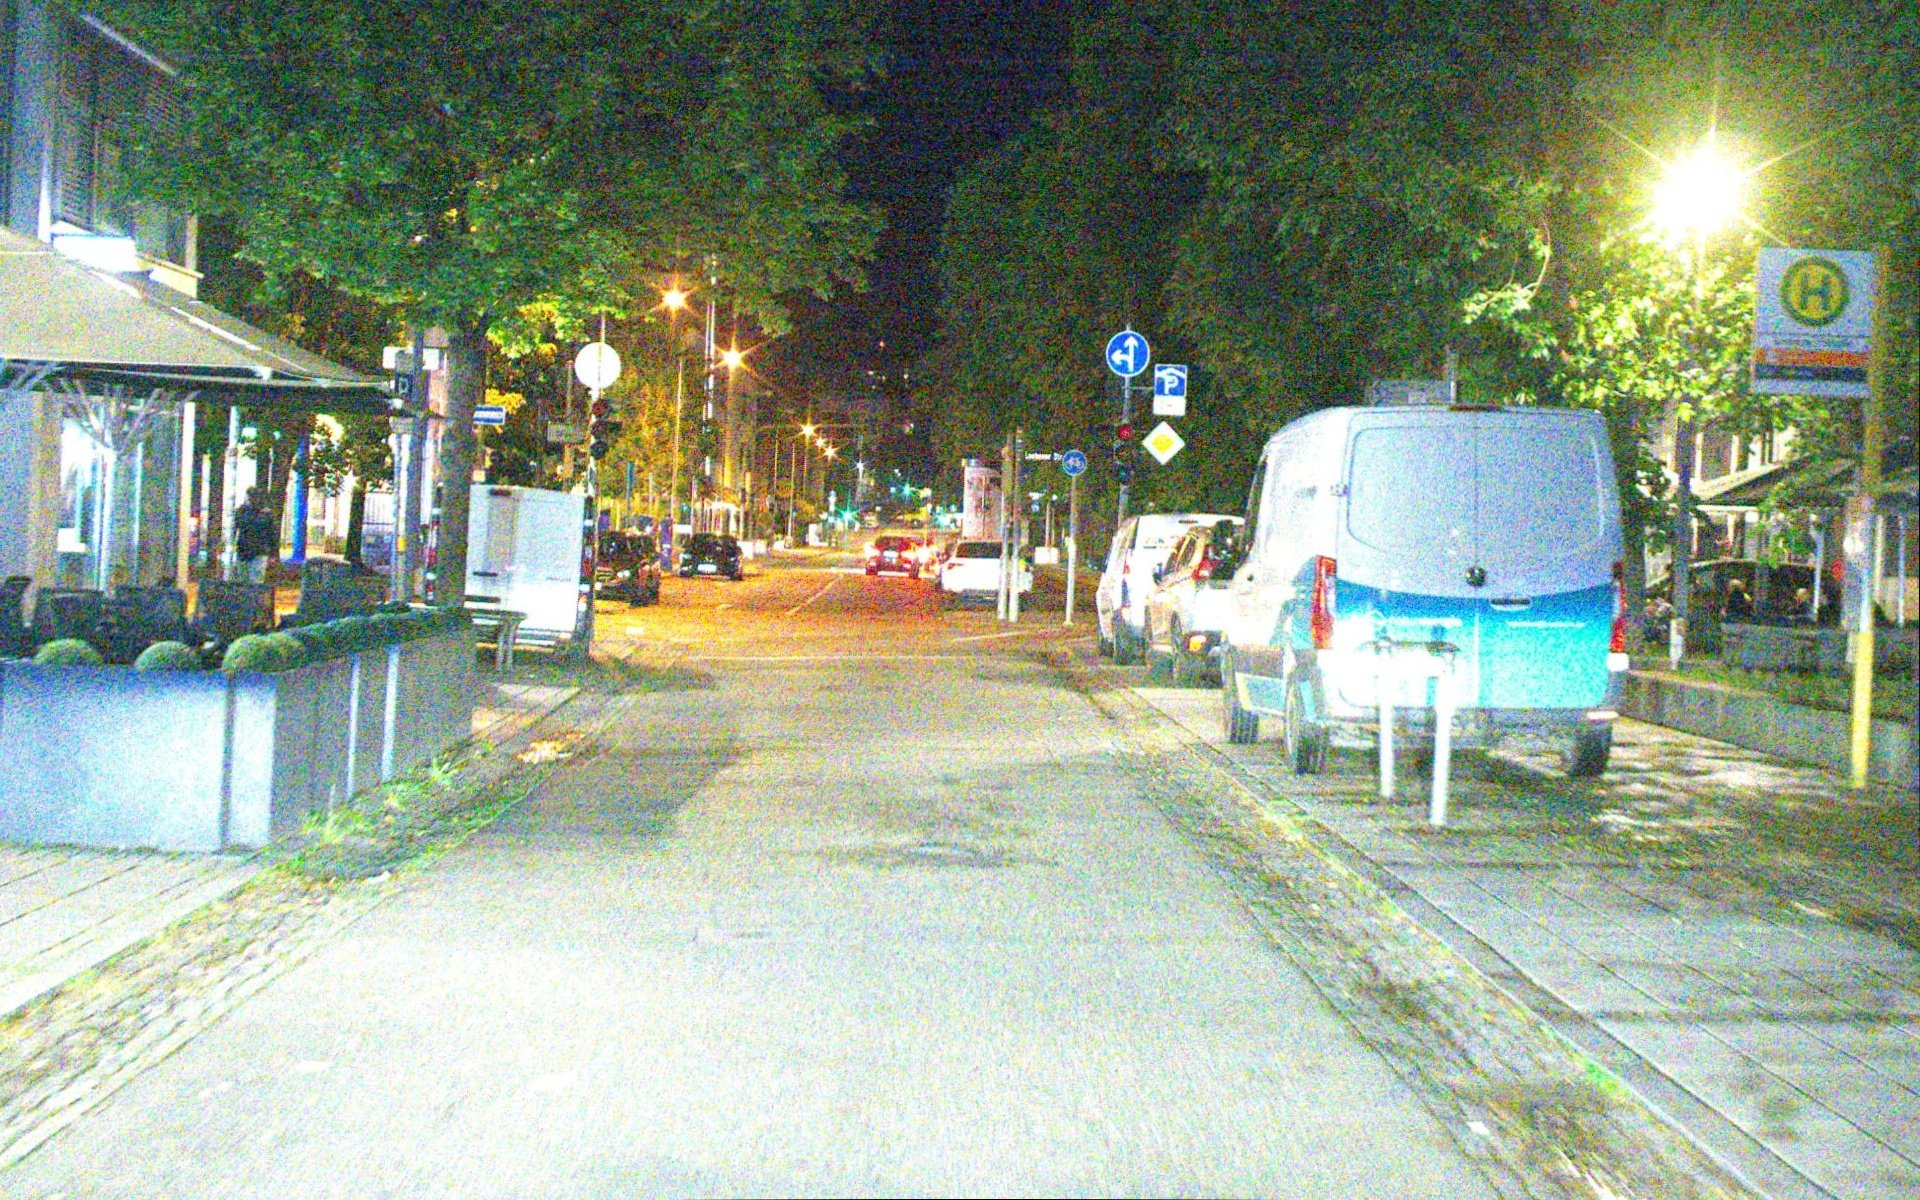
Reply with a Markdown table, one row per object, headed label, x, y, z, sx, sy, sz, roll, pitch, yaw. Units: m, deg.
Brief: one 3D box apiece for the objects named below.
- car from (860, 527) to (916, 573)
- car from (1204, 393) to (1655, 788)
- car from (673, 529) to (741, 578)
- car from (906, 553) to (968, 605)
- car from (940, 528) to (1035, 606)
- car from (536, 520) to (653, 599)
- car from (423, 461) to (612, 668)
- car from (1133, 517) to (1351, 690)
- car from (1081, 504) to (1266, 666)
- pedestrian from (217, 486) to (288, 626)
| label | x | y | z | sx | sy | sz | roll | pitch | yaw |
| --- | --- | --- | --- | --- | --- | --- | --- | --- | --- |
| car | -2.656 | -1.849 | 126.798 | 1.993 | 1.637 | 4.000 | 1 | 1 | -1 |
| car | 3.010 | -0.111 | 23.271 | 2.134 | 2.318 | 5.152 | 2 | 1 | -2 |
| car | -7.920 | -1.481 | 107.906 | 1.741 | 1.408 | 4.496 | 3 | 1 | 0 |
| car | -0.678 | -0.644 | 102.078 | 1.764 | 1.409 | 4.808 | 2 | 1 | 0 |
| car | 0.524 | -0.690 | 69.526 | 1.818 | 1.494 | 4.000 | 2 | 1 | 0 |
| car | -7.404 | -0.839 | 69.961 | 1.806 | 1.420 | 4.921 | 4 | 1 | -1 |
| car | -4.992 | -0.440 | 39.265 | 1.852 | 2.080 | 5.092 | 4 | 1 | -6 |
| car | 2.884 | -0.015 | 35.926 | 1.684 | 1.653 | 4.298 | 2 | 1 | -3 |
| car | 2.554 | -0.220 | 42.042 | 1.789 | 1.816 | 4.580 | 2 | 1 | -2 |
| pedestrian | -8.854 | -0.552 | 43.039 | 0.668 | 1.713 | 0.908 | 2 | 1 | -1 |
